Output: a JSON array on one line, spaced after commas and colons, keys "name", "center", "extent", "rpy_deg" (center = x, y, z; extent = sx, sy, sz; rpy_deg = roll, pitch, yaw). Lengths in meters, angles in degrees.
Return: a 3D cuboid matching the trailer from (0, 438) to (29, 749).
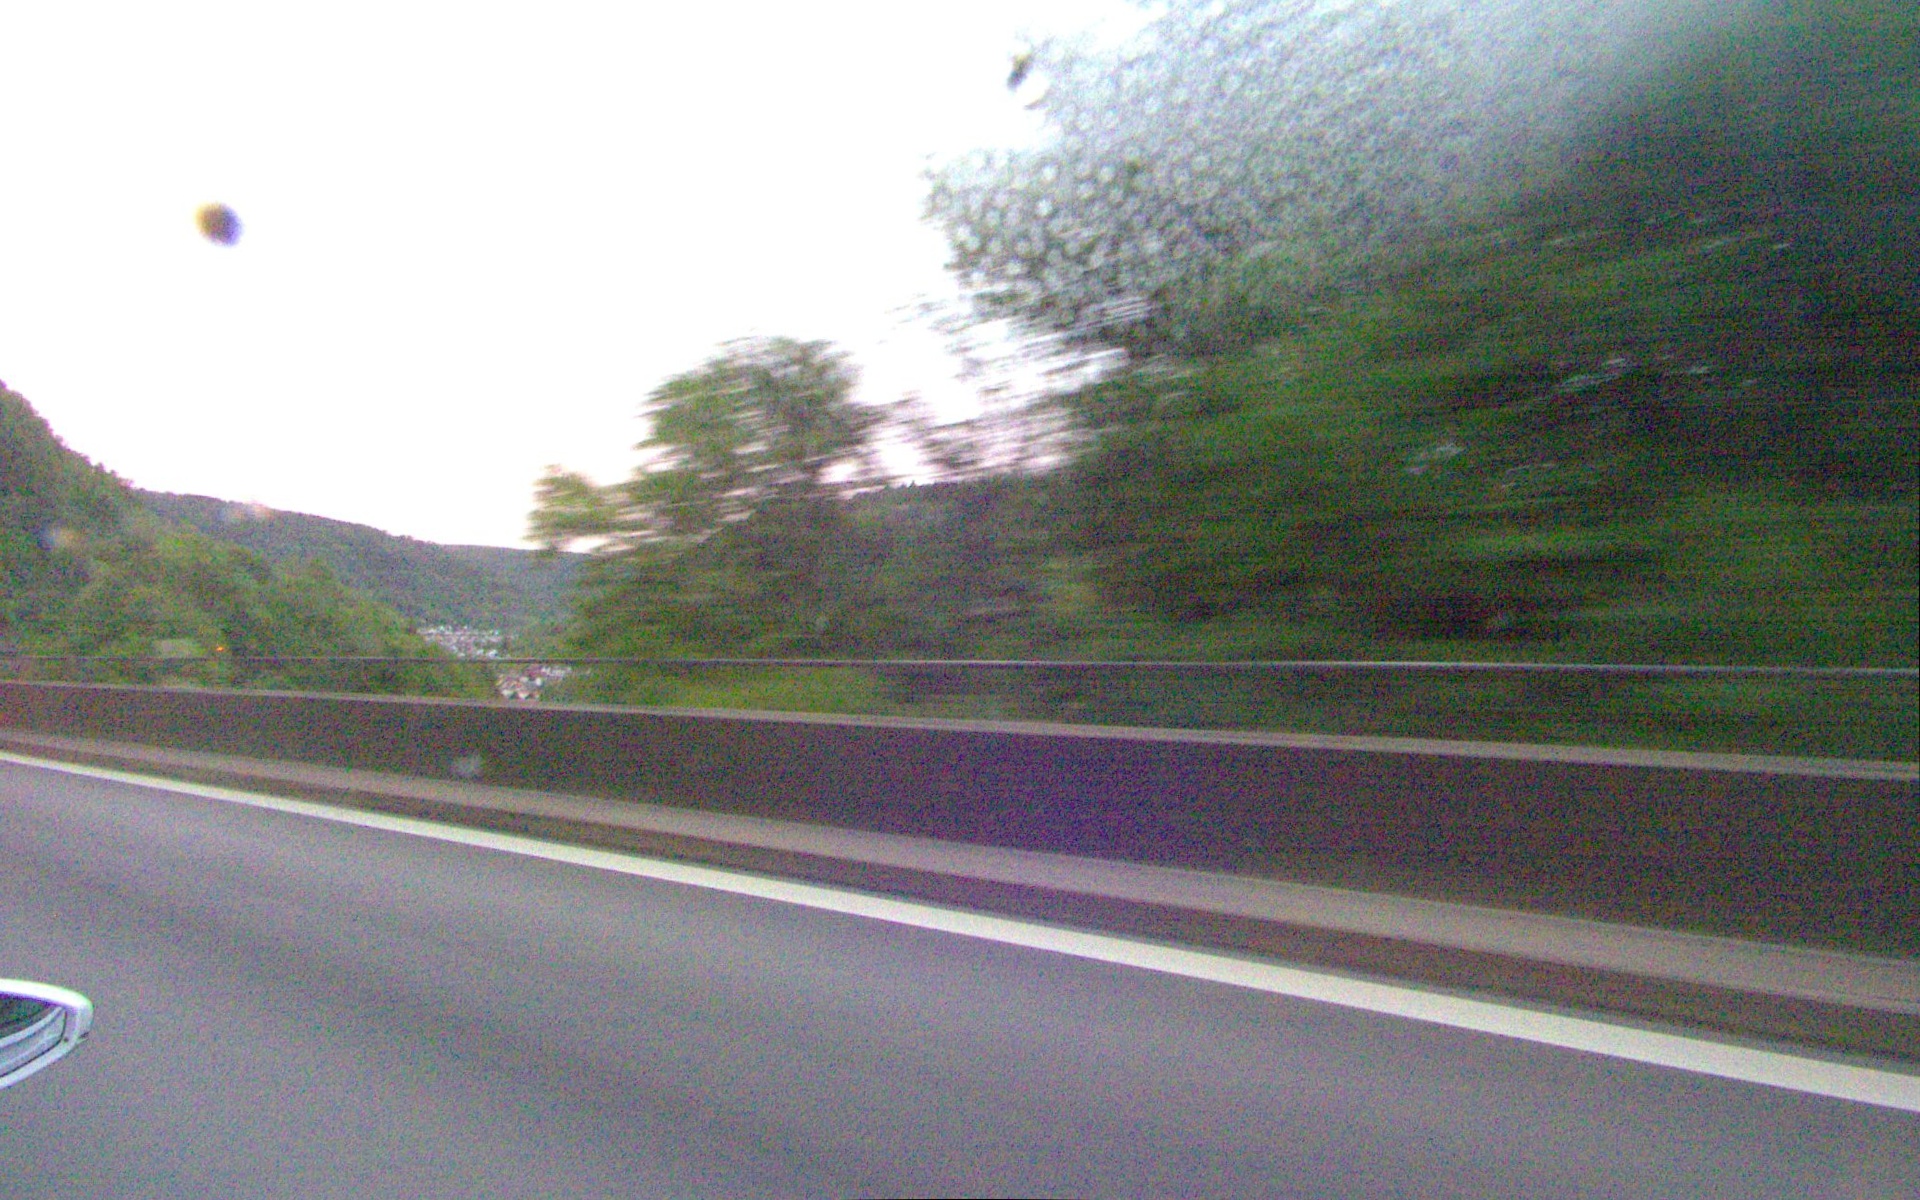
[{"name": "trailer", "center": [-19.051, -0.060, 15.613], "extent": [14.017, 4.018, 3.094], "rpy_deg": [-1, -4, 33]}]
